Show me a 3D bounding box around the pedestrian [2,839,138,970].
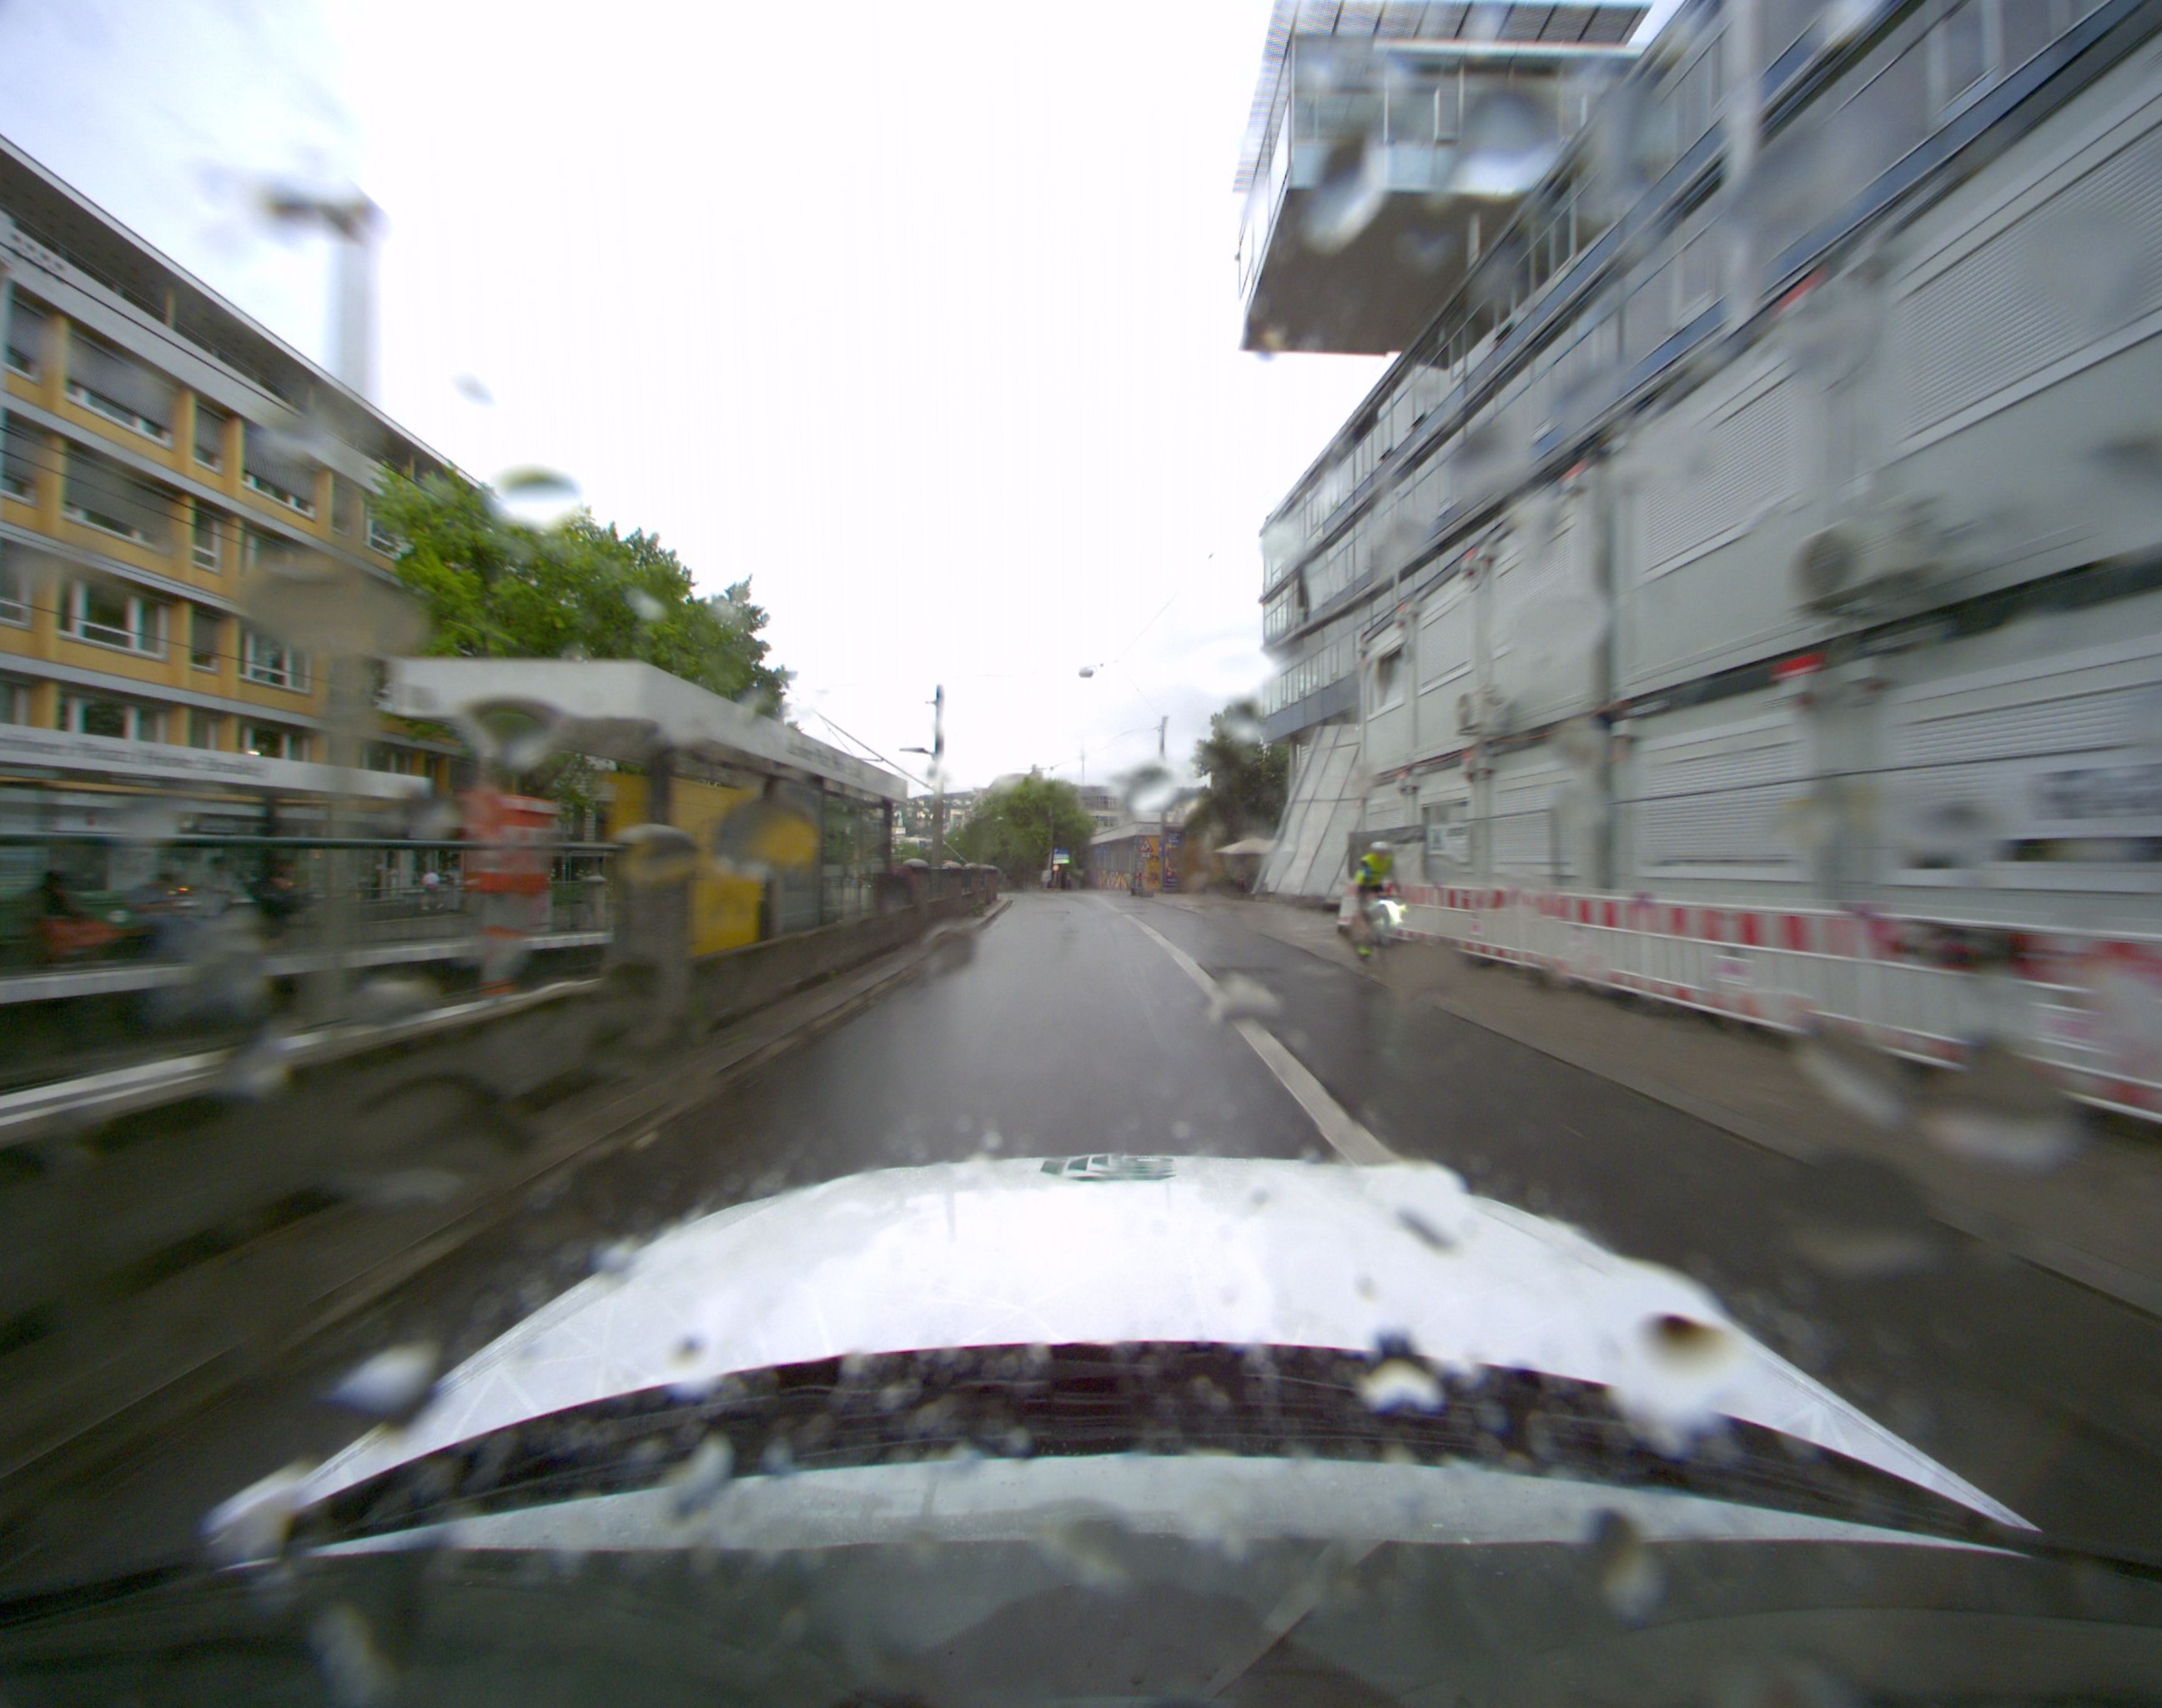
[{"bbox_3d":[-13.681,0.669,11.042,0.768,1.649,0.778,-6,-1,4],"label":"pedestrian"}]

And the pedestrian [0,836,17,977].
[{"bbox_3d":[-13.066,0.614,9.412,0.630,1.660,0.683,0,0,4],"label":"pedestrian"}]

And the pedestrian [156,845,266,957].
[{"bbox_3d":[-13.650,0.721,12.802,0.768,1.649,0.778,-6,-1,4],"label":"pedestrian"}]

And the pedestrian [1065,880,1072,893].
[{"bbox_3d":[-1.796,4.615,115.125,0.806,1.865,1.053,-1,-3,-7],"label":"pedestrian"}]

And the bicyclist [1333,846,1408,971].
[{"bbox_3d":[4.034,0.739,11.411,0.659,1.639,0.793,-4,-1,1],"label":"bicyclist"}]

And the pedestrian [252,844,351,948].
[{"bbox_3d":[-13.172,0.689,13.791,0.674,1.649,0.897,-6,-1,4],"label":"pedestrian"}]

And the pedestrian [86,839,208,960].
[{"bbox_3d":[-13.694,0.645,11.961,0.768,1.649,0.778,-6,-1,4],"label":"pedestrian"}]

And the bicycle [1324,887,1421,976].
[{"bbox_3d":[4.045,1.034,11.475,0.659,1.053,2.057,-2,-1,2],"label":"bicycle"}]
